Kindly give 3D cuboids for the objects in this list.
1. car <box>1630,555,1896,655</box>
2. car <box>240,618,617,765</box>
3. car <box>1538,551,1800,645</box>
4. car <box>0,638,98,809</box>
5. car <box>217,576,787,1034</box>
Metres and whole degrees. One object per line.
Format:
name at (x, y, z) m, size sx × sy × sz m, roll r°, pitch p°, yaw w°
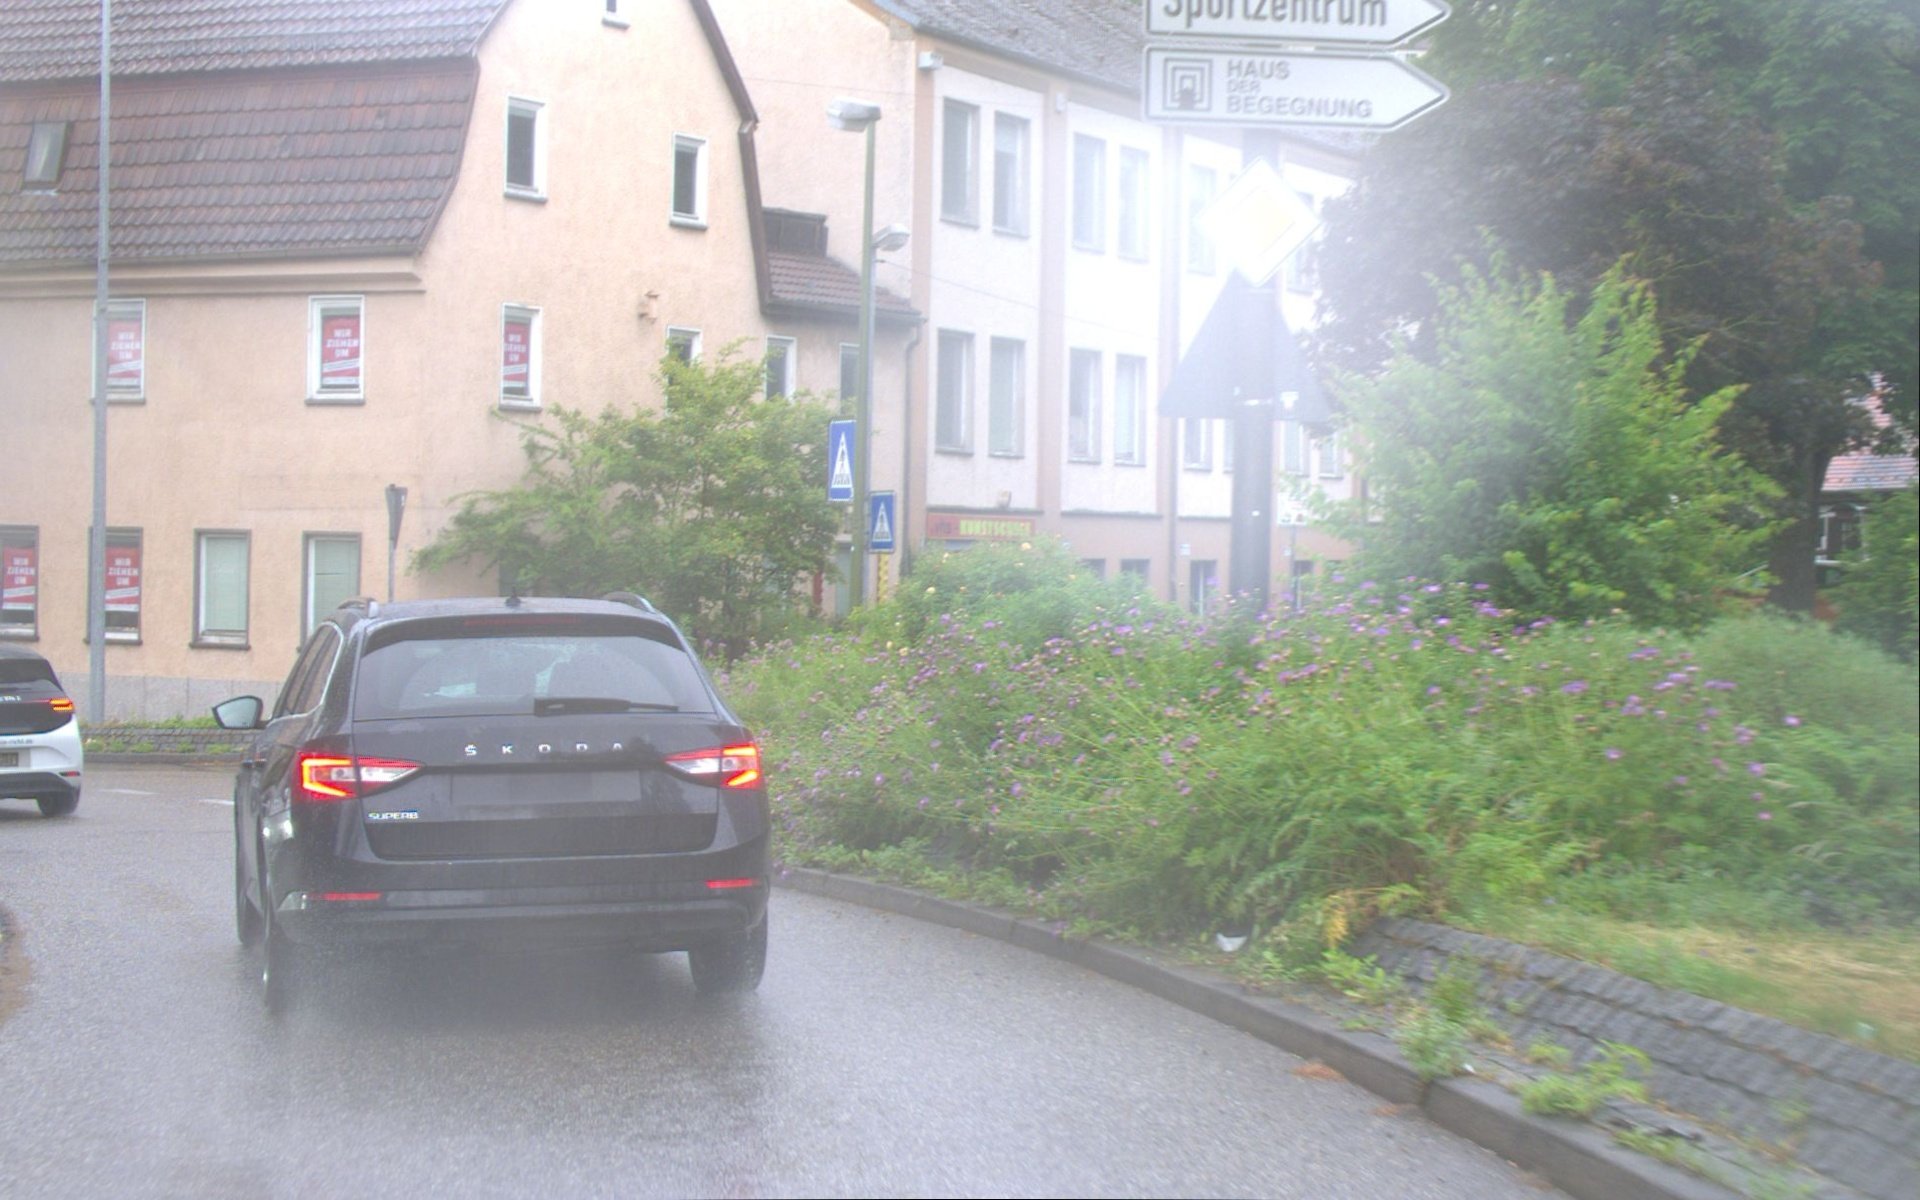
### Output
car at (13.065, 0.083, 55.944) m, size 3.897 × 1.567 × 1.716 m, roll 0°, pitch 1°, yaw 27°
car at (-5.861, 0.976, 37.906) m, size 3.750 × 1.448 × 1.712 m, roll -2°, pitch 0°, yaw -25°
car at (12.384, -0.035, 60.039) m, size 4.407 × 1.567 × 1.718 m, roll -1°, pitch 1°, yaw 13°
car at (-9.106, 1.033, 30.286) m, size 1.818 × 1.355 × 3.990 m, roll 1°, pitch 1°, yaw -31°
car at (-1.961, 0.709, 13.564) m, size 1.781 × 1.478 × 4.247 m, roll -1°, pitch -1°, yaw -13°
